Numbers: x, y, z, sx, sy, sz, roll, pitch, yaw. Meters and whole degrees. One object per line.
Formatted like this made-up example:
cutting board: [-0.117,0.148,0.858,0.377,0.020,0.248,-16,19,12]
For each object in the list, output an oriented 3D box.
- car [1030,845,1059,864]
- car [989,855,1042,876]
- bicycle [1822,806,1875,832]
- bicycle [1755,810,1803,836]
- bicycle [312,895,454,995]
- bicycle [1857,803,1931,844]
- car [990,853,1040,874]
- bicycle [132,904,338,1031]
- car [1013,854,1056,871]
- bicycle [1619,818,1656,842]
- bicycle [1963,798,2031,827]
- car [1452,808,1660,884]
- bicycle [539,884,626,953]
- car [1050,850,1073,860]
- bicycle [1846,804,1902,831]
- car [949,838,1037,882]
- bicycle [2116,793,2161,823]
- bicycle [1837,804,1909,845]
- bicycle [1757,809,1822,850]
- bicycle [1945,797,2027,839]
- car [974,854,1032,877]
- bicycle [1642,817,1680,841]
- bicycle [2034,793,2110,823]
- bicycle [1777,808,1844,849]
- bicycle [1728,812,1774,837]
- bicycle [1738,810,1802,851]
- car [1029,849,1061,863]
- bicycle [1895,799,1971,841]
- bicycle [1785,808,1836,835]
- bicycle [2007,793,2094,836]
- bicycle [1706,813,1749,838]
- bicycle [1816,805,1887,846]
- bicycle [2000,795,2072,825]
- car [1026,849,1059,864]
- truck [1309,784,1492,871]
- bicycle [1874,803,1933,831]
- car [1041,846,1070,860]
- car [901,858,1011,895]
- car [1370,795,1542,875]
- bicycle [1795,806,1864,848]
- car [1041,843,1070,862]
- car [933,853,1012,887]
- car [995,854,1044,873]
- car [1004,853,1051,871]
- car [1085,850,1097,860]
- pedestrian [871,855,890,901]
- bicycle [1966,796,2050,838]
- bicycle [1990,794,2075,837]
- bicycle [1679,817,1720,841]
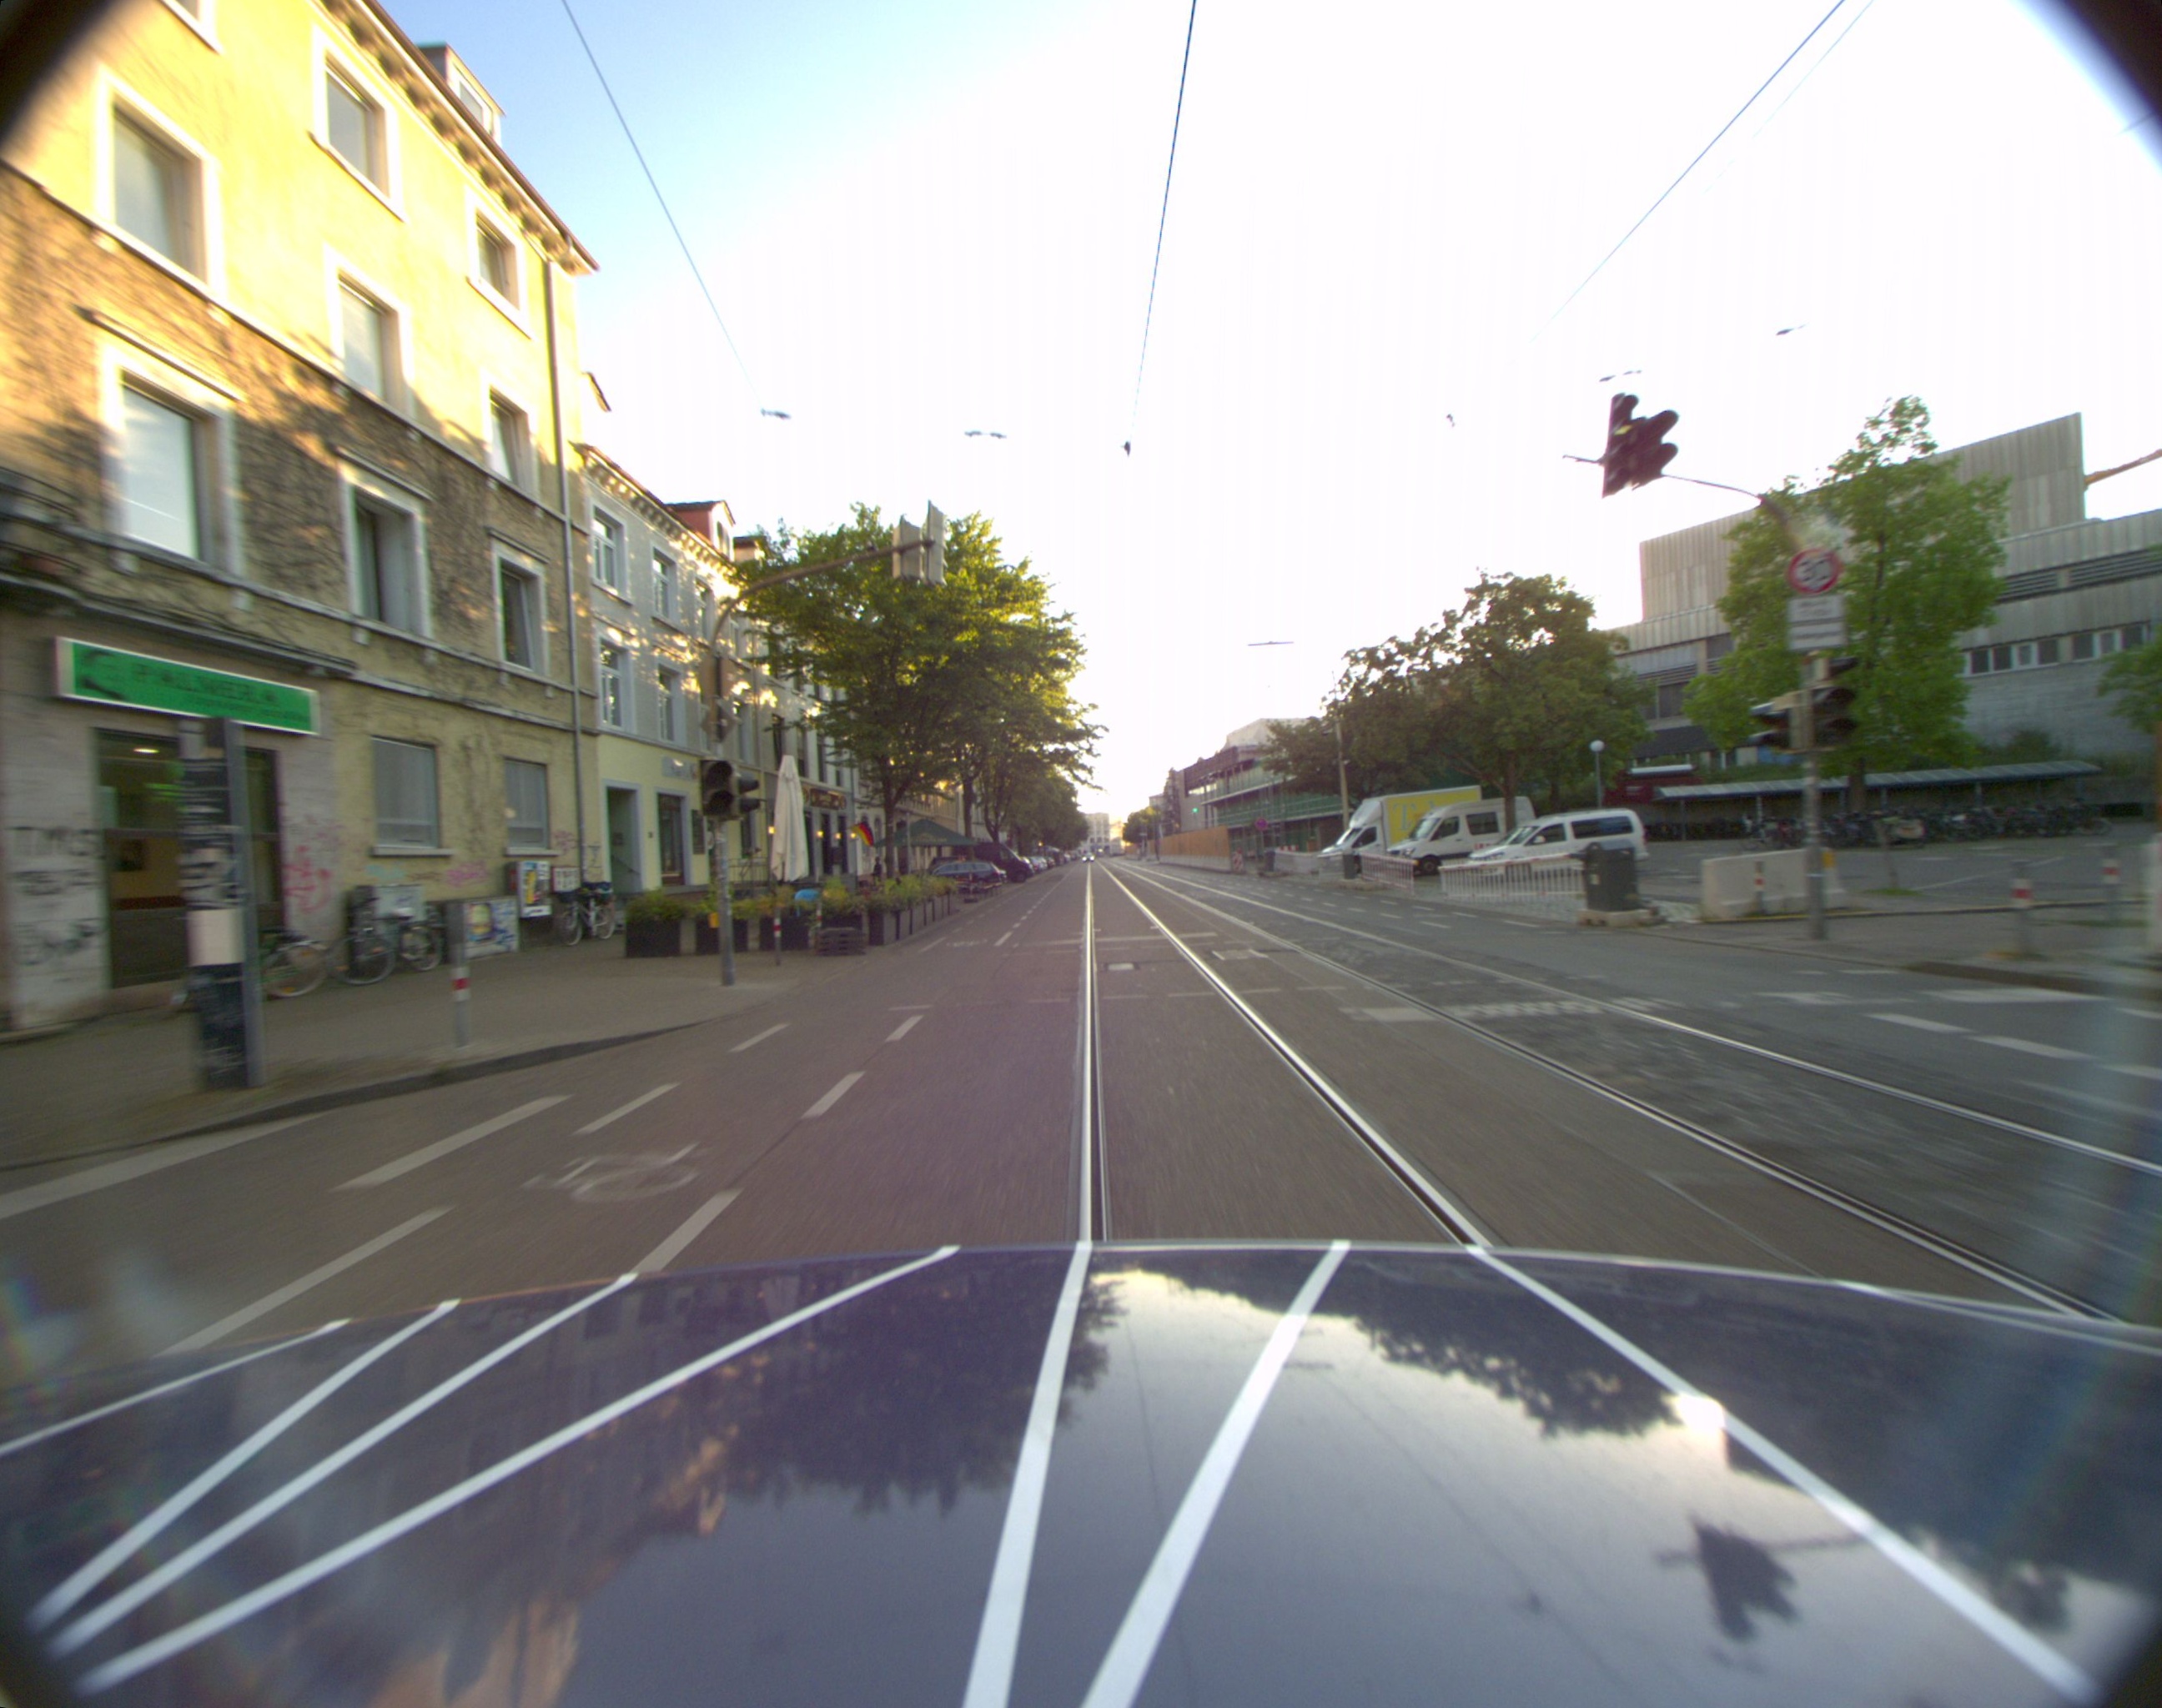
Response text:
car: [-5.226,0.030,108.169,3.991,2.551,1.722,-1,0,1]
car: [-5.204,0.928,60.477,3.991,1.566,1.722,-1,0,2]
bicycle: [36.893,-1.665,36.566,0.811,1.175,2.267,-3,0,17]
bicycle: [34.571,-1.508,37.675,0.811,1.175,2.267,-3,0,17]
bicycle: [-9.846,1.242,10.798,0.471,1.203,1.586,-3,1,1]
bicycle: [28.305,-1.038,26.506,0.542,1.361,1.977,-3,1,5]
car: [-5.475,0.795,63.337,3.991,1.566,1.722,-1,0,2]
bicycle: [-9.704,1.252,8.812,0.525,1.203,1.586,-3,1,1]
car: [-4.705,0.849,76.457,3.997,1.566,1.720,-1,0,-14]
bicycle: [29.333,-1.240,40.098,0.811,1.175,2.267,-3,0,17]
bicycle: [41.180,-1.846,34.208,0.811,1.175,2.267,-3,0,17]
car: [14.025,-0.228,22.693,4.844,1.862,2.015,-3,0,2]
bicycle: [-9.872,1.243,15.117,0.471,1.203,1.783,-3,1,1]
car: [-3.450,0.162,136.673,3.991,1.681,1.722,-1,0,1]
bicycle: [37.690,-1.712,36.139,0.811,1.175,2.267,-3,0,17]
car: [-5.522,0.325,47.603,5.235,2.605,1.925,-1,1,-16]
bicycle: [44.995,-1.951,31.777,0.811,1.175,2.267,-3,0,17]
bicycle: [27.583,-1.010,26.511,0.542,1.361,1.977,-3,1,5]
bicycle: [24.917,-0.848,26.765,0.542,1.361,1.977,-3,1,5]
bicycle: [31.270,-1.229,26.287,0.542,1.361,1.977,-3,1,5]
car: [-5.779,0.837,56.614,3.991,1.589,1.722,-1,0,2]
bicycle: [30.154,-1.282,39.565,0.811,1.175,2.267,-3,0,17]
bicycle: [42.891,-1.975,32.919,0.811,1.175,2.267,-3,0,17]
bicycle: [25.585,-0.885,26.701,0.542,1.361,1.977,-3,1,5]
bicycle: [33.654,-1.466,38.205,0.811,1.175,2.267,-3,0,17]
bicycle: [24.251,-0.810,26.796,0.542,1.361,1.977,-3,1,5]
car: [-4.862,0.287,101.985,3.997,1.760,1.720,-1,0,-14]
bicycle: [29.826,-1.174,26.644,0.542,1.361,1.977,-3,1,5]
bicycle: [35.555,-1.561,37.074,0.811,1.175,2.267,-3,0,17]
bicycle: [33.337,-1.325,26.178,0.542,1.361,1.977,-3,1,5]
bicycle: [32.713,-1.415,38.480,0.811,1.175,2.267,-3,0,17]
bicycle: [26.889,-0.966,26.551,0.542,1.361,1.977,-3,1,5]
bicycle: [41.879,-1.889,33.370,0.811,1.175,2.267,-3,0,17]
car: [-4.944,0.268,98.278,3.997,1.829,1.720,-1,0,-14]
truck: [14.289,-1.164,34.316,7.077,3.408,2.565,-3,0,-2]
bicycle: [38.453,-1.713,35.547,0.811,1.175,2.267,-3,0,17]
car: [-3.758,-0.093,110.970,3.997,1.952,1.720,-1,0,-14]
car: [-5.717,1.000,34.865,4.642,1.508,1.807,-1,-1,-26]
car: [13.911,-0.685,28.396,5.233,2.582,2.229,-3,0,-3]
bicycle: [26.187,-0.919,26.627,0.542,1.361,1.977,-3,1,5]
car: [-3.841,-0.178,114.141,3.997,2.811,1.720,-1,0,-14]
car: [-5.844,0.873,41.253,3.992,1.689,1.722,-1,0,-1]
car: [-5.334,0.809,65.747,3.996,1.566,1.720,-1,0,-11]
car: [-4.927,0.728,69.619,3.997,1.566,1.720,-1,0,-14]
car: [1.830,0.201,133.190,1.998,1.674,4.000,-3,0,1]
pedestrian: [-7.823,0.933,29.653,0.498,1.742,0.646,-1,1,5]
bicycle: [31.888,-1.242,26.188,0.542,1.361,1.977,-3,1,5]
bicycle: [32.752,-1.291,26.193,0.542,1.361,1.977,-3,1,5]
bicycle: [31.678,-1.273,38.961,0.811,1.175,2.267,-3,0,17]
